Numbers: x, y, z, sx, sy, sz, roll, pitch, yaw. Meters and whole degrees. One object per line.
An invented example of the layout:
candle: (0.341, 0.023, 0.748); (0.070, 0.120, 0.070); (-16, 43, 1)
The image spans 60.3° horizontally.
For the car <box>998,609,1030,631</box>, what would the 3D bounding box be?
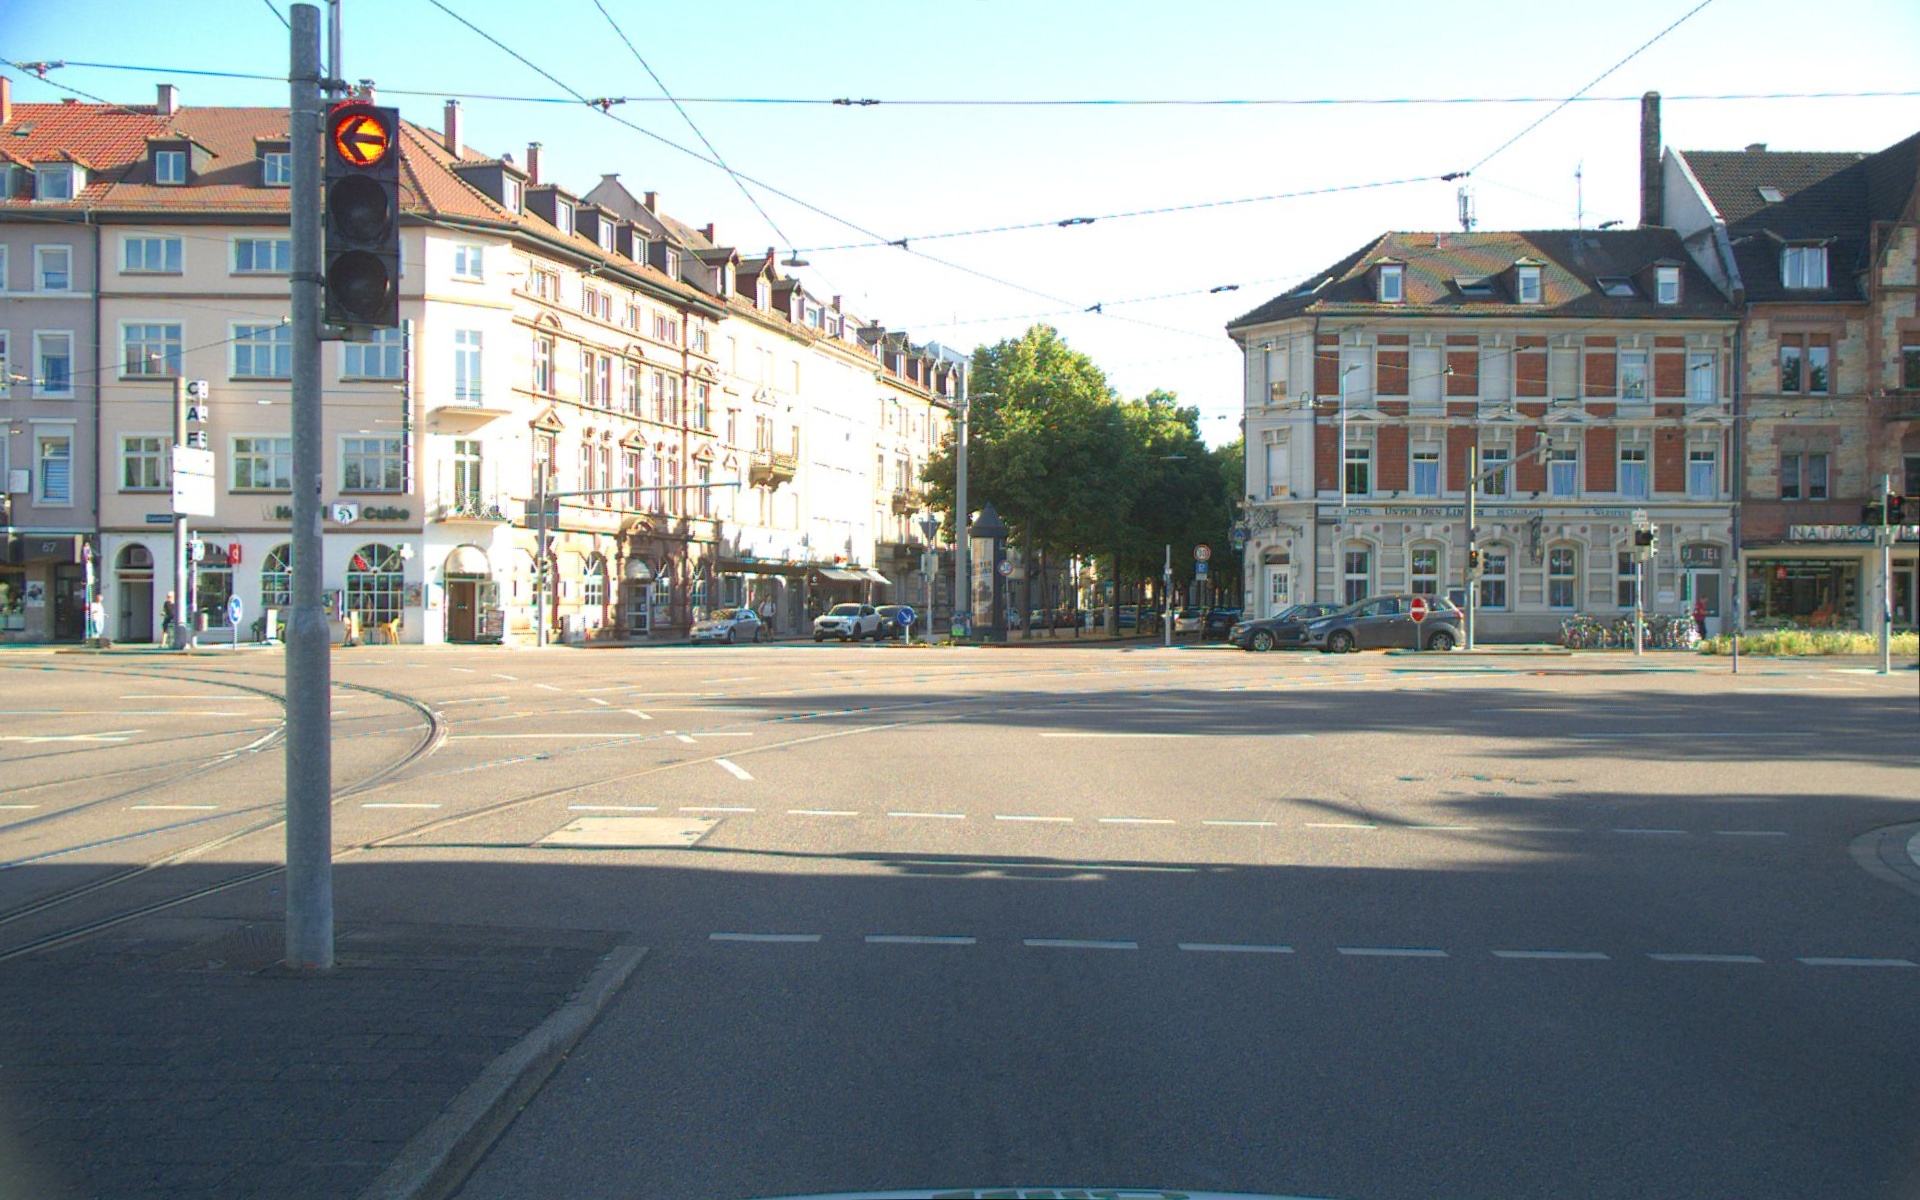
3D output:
car: (3.798, 1.353, 115.848); (1.704, 1.422, 4.127); (3, 0, 9)

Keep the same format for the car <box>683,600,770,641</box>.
car: (-9.455, 0.810, 67.228); (2.052, 1.572, 4.367); (0, 0, 13)

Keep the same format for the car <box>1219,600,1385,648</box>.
car: (9.995, 0.700, 48.503); (4.420, 1.364, 1.999); (0, 0, -3)

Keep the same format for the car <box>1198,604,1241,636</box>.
car: (12.969, 0.999, 82.474); (1.616, 1.551, 3.755); (0, -1, 17)

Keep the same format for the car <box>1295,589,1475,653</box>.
car: (11.582, 0.550, 45.259); (4.418, 1.701, 1.999); (0, 0, -2)

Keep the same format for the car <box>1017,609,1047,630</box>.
car: (5.329, 1.409, 122.848); (1.704, 1.422, 4.127); (3, 0, 9)

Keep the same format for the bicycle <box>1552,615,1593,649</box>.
bicycle: (19.821, 1.022, 53.520); (0.593, 1.069, 1.641); (0, 0, -6)

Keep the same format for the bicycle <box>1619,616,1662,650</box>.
bicycle: (21.939, 1.057, 53.334); (0.593, 1.069, 1.641); (0, 0, -6)

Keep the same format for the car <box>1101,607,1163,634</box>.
car: (11.999, 1.398, 115.392); (4.024, 1.675, 1.748); (3, 0, 15)

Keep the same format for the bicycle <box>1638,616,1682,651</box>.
bicycle: (22.600, 1.069, 53.410); (0.593, 1.069, 1.641); (0, 0, -6)

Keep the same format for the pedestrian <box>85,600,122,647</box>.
pedestrian: (-28.604, 0.776, 55.238); (0.774, 1.553, 0.859); (0, 0, 0)

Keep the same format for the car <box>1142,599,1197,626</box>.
car: (16.952, 1.008, 133.673); (4.026, 1.952, 1.746); (3, 0, 21)

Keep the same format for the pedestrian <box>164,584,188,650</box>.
pedestrian: (-24.671, 0.538, 52.042); (0.498, 2.049, 0.505); (0, 0, 2)

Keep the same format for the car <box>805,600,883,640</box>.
car: (-4.656, 0.787, 67.088); (2.052, 1.525, 4.003); (0, 0, 13)

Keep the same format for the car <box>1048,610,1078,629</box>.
car: (8.238, 1.533, 131.715); (1.704, 1.422, 4.127); (3, 0, 13)

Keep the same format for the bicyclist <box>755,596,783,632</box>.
bicyclist: (-7.564, 0.541, 65.472); (0.776, 1.399, 1.109); (0, 0, 14)

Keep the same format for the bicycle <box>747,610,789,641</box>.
bicycle: (-7.578, 0.992, 65.503); (0.734, 1.155, 2.812); (0, 0, 14)

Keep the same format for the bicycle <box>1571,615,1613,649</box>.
bicycle: (20.461, 1.033, 53.576); (0.593, 1.069, 1.641); (0, 0, -6)

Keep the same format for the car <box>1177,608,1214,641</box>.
car: (13.446, 1.392, 94.336); (1.638, 1.787, 3.761); (0, 0, 15)

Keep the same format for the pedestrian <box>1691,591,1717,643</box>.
pedestrian: (25.547, 0.591, 56.805); (0.694, 1.782, 0.421); (0, 0, 0)

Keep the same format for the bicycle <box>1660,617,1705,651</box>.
bicycle: (23.326, 1.082, 53.431); (0.593, 1.069, 1.641); (0, 0, -6)

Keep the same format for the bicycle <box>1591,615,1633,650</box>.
bicycle: (21.113, 1.044, 53.602); (0.593, 1.069, 1.641); (0, 0, -6)

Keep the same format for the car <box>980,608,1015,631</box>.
car: (2.521, 1.306, 110.025); (1.704, 1.422, 4.127); (3, 0, 9)

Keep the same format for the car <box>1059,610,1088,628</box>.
car: (9.416, 1.569, 136.511); (1.704, 1.422, 4.127); (3, 0, 13)

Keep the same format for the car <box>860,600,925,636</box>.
car: (-2.964, 0.794, 73.481); (1.951, 1.540, 4.004); (0, 0, 11)

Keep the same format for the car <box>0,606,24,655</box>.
car: (-32.067, 0.997, 52.162); (3.910, 1.489, 1.998); (-1, 1, -6)
